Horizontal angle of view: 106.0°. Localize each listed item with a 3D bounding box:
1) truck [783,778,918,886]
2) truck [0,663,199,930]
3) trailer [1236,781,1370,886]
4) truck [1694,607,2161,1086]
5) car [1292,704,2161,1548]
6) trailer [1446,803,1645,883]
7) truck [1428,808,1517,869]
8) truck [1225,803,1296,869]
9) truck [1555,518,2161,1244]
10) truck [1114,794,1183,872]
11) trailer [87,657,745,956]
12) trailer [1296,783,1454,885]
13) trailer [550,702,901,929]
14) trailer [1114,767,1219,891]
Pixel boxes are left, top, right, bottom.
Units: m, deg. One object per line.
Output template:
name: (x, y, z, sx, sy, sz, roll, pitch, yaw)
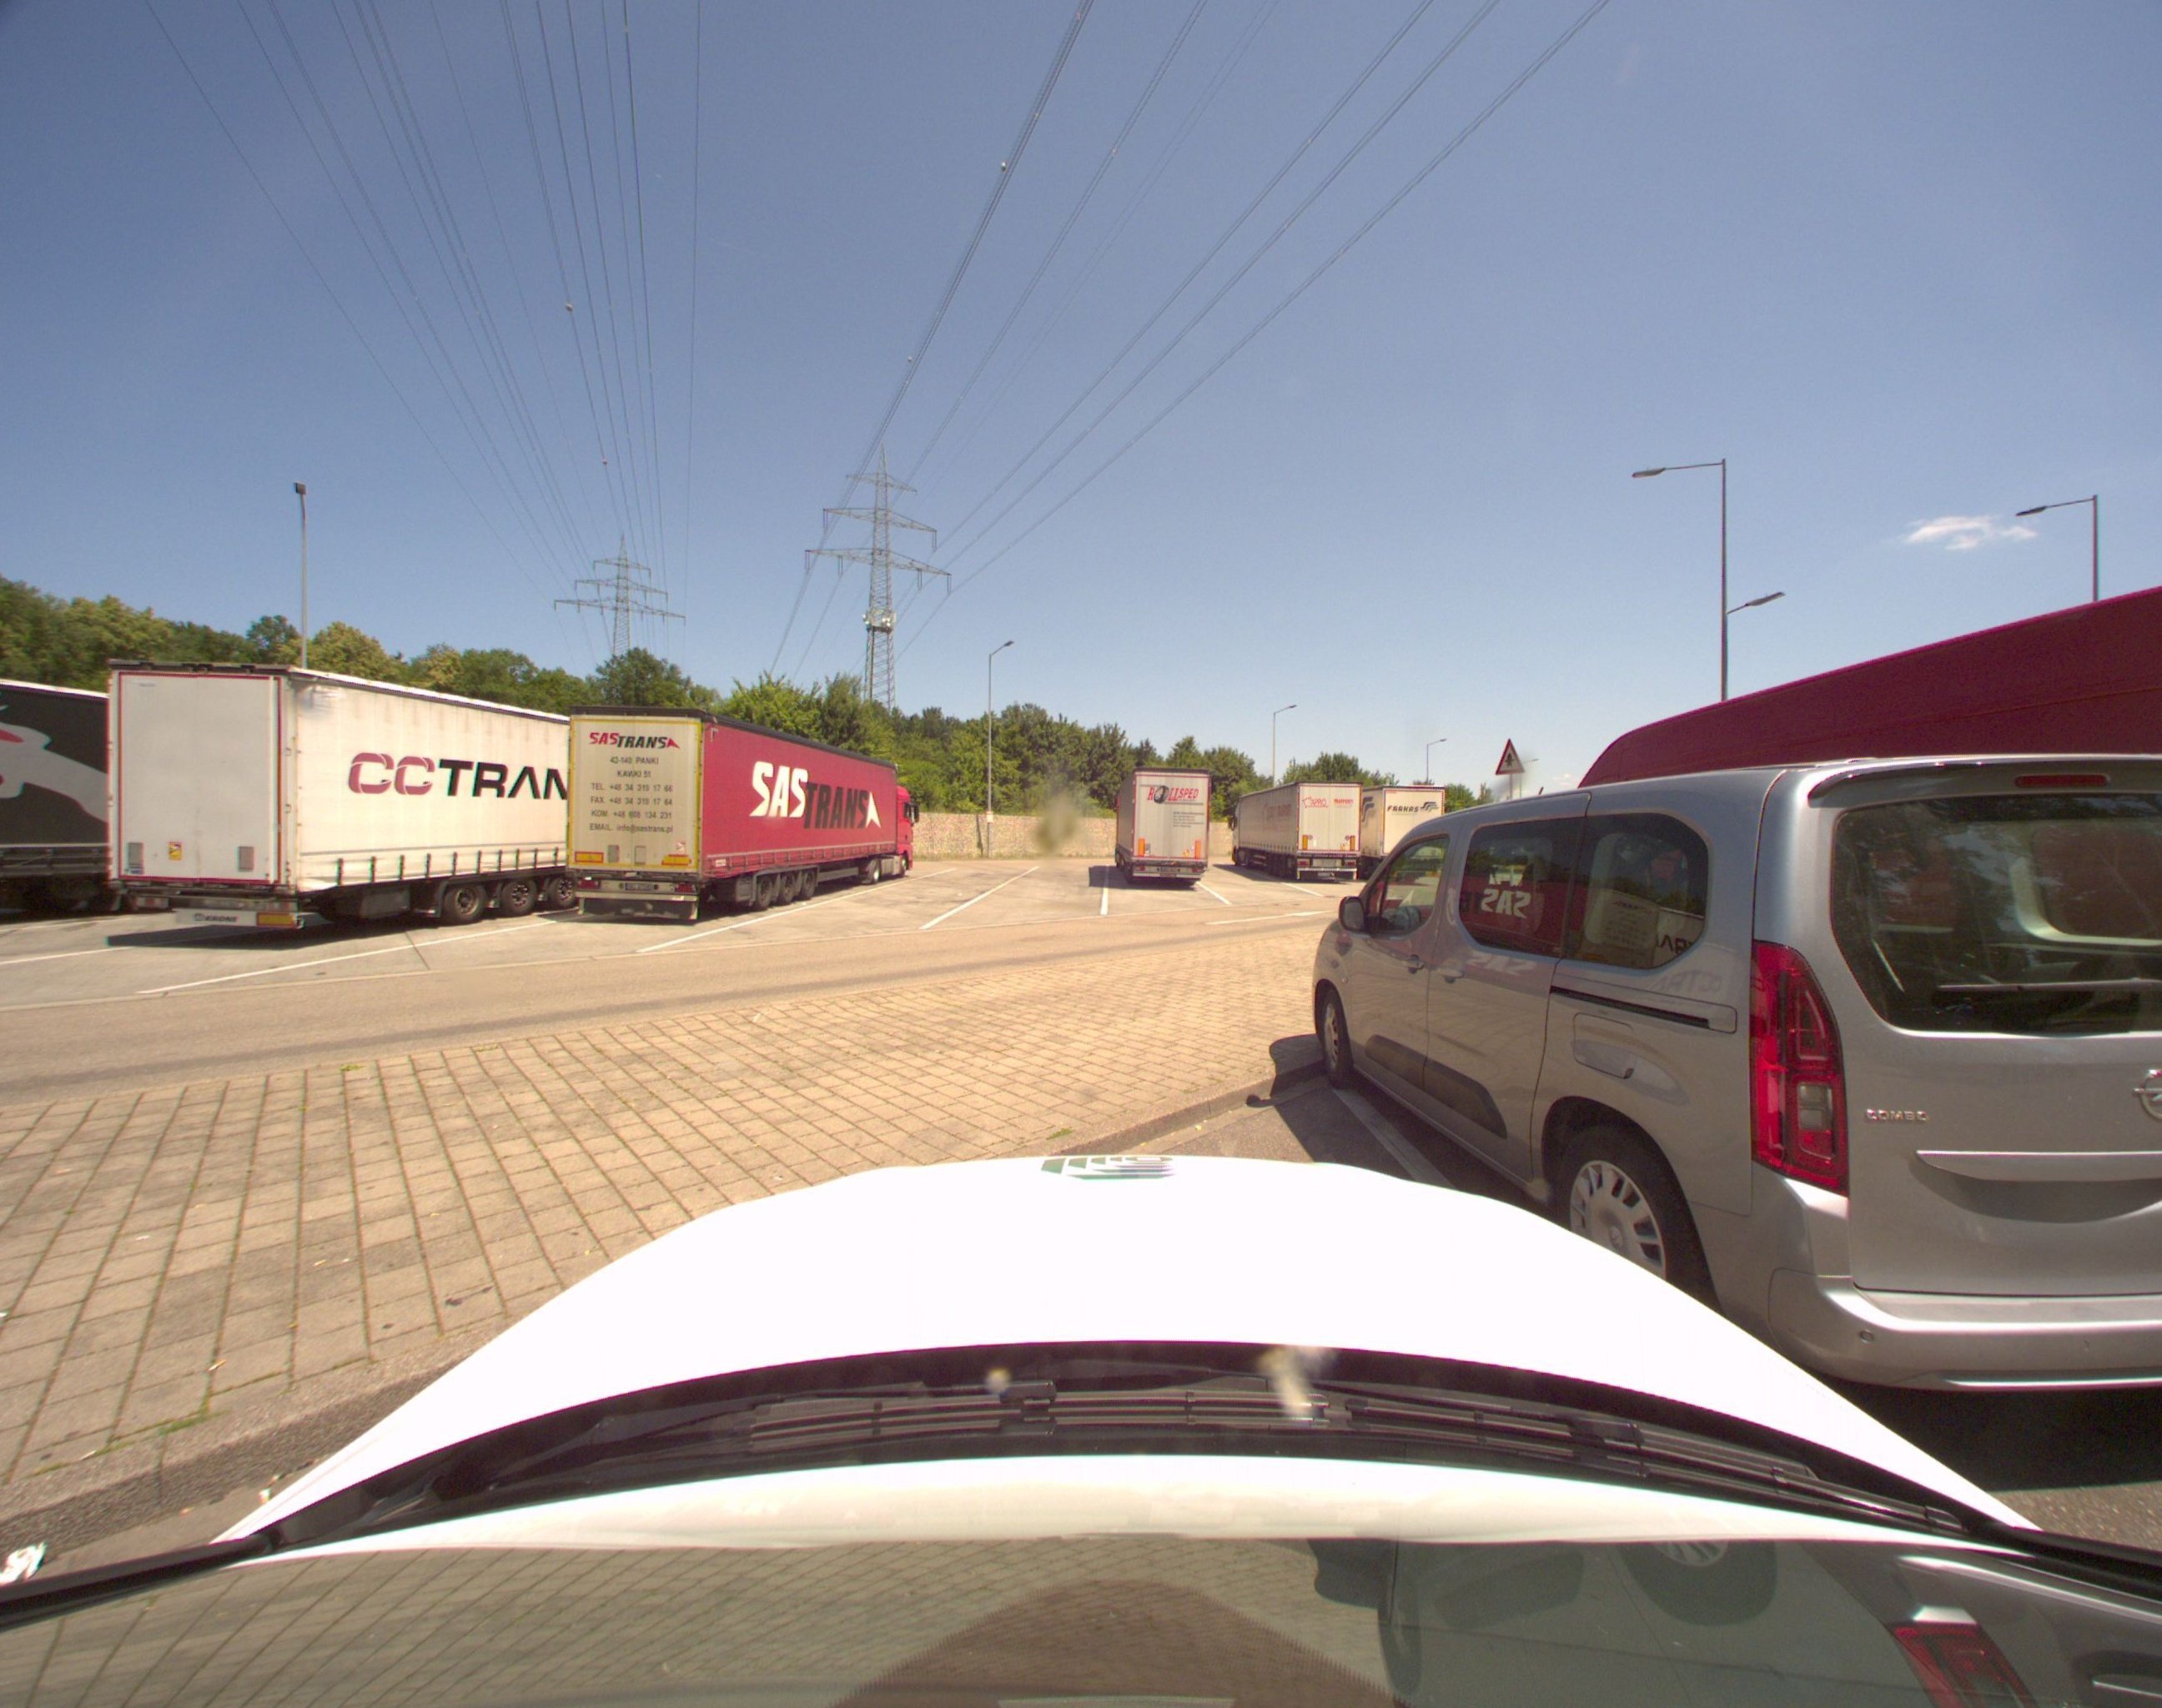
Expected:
truck: (-7.820, -0.785, 28.486, 2.840, 3.327, 5.903, 1, 2, 2)
truck: (-18.544, -0.966, 13.794, 2.726, 4.239, 3.997, 1, 2, 2)
trailer: (9.924, -1.050, 38.656, 2.801, 3.989, 14.403, 1, 2, 2)
truck: (7.988, -0.039, 6.467, 2.444, 2.912, 5.663, -1, -1, 7)
car: (2.487, 0.573, 3.895, 1.864, 1.863, 4.176, 1, 1, 0)
trailer: (24.094, -0.743, 43.767, 2.801, 3.507, 14.403, 1, 2, 2)
truck: (24.350, -1.015, 50.998, 2.792, 3.521, 5.903, 1, 2, 2)
truck: (10.186, -1.081, 46.757, 2.852, 3.521, 5.903, 1, 2, 2)
truck: (5.133, 0.118, 4.919, 1.968, 2.622, 5.314, 0, -1, 7)
truck: (3.224, -1.084, 40.601, 3.092, 3.566, 5.903, 1, 2, 2)
trailer: (-12.132, -0.910, 18.346, 2.785, 4.084, 14.139, 1, 2, 2)
trailer: (13.597, -1.042, 39.619, 2.801, 3.989, 14.403, 1, 2, 2)
trailer: (-8.068, -0.947, 21.916, 2.781, 4.084, 14.139, 1, 2, 2)
trailer: (3.059, -1.068, 33.707, 3.122, 3.989, 14.401, 1, 2, 1)
